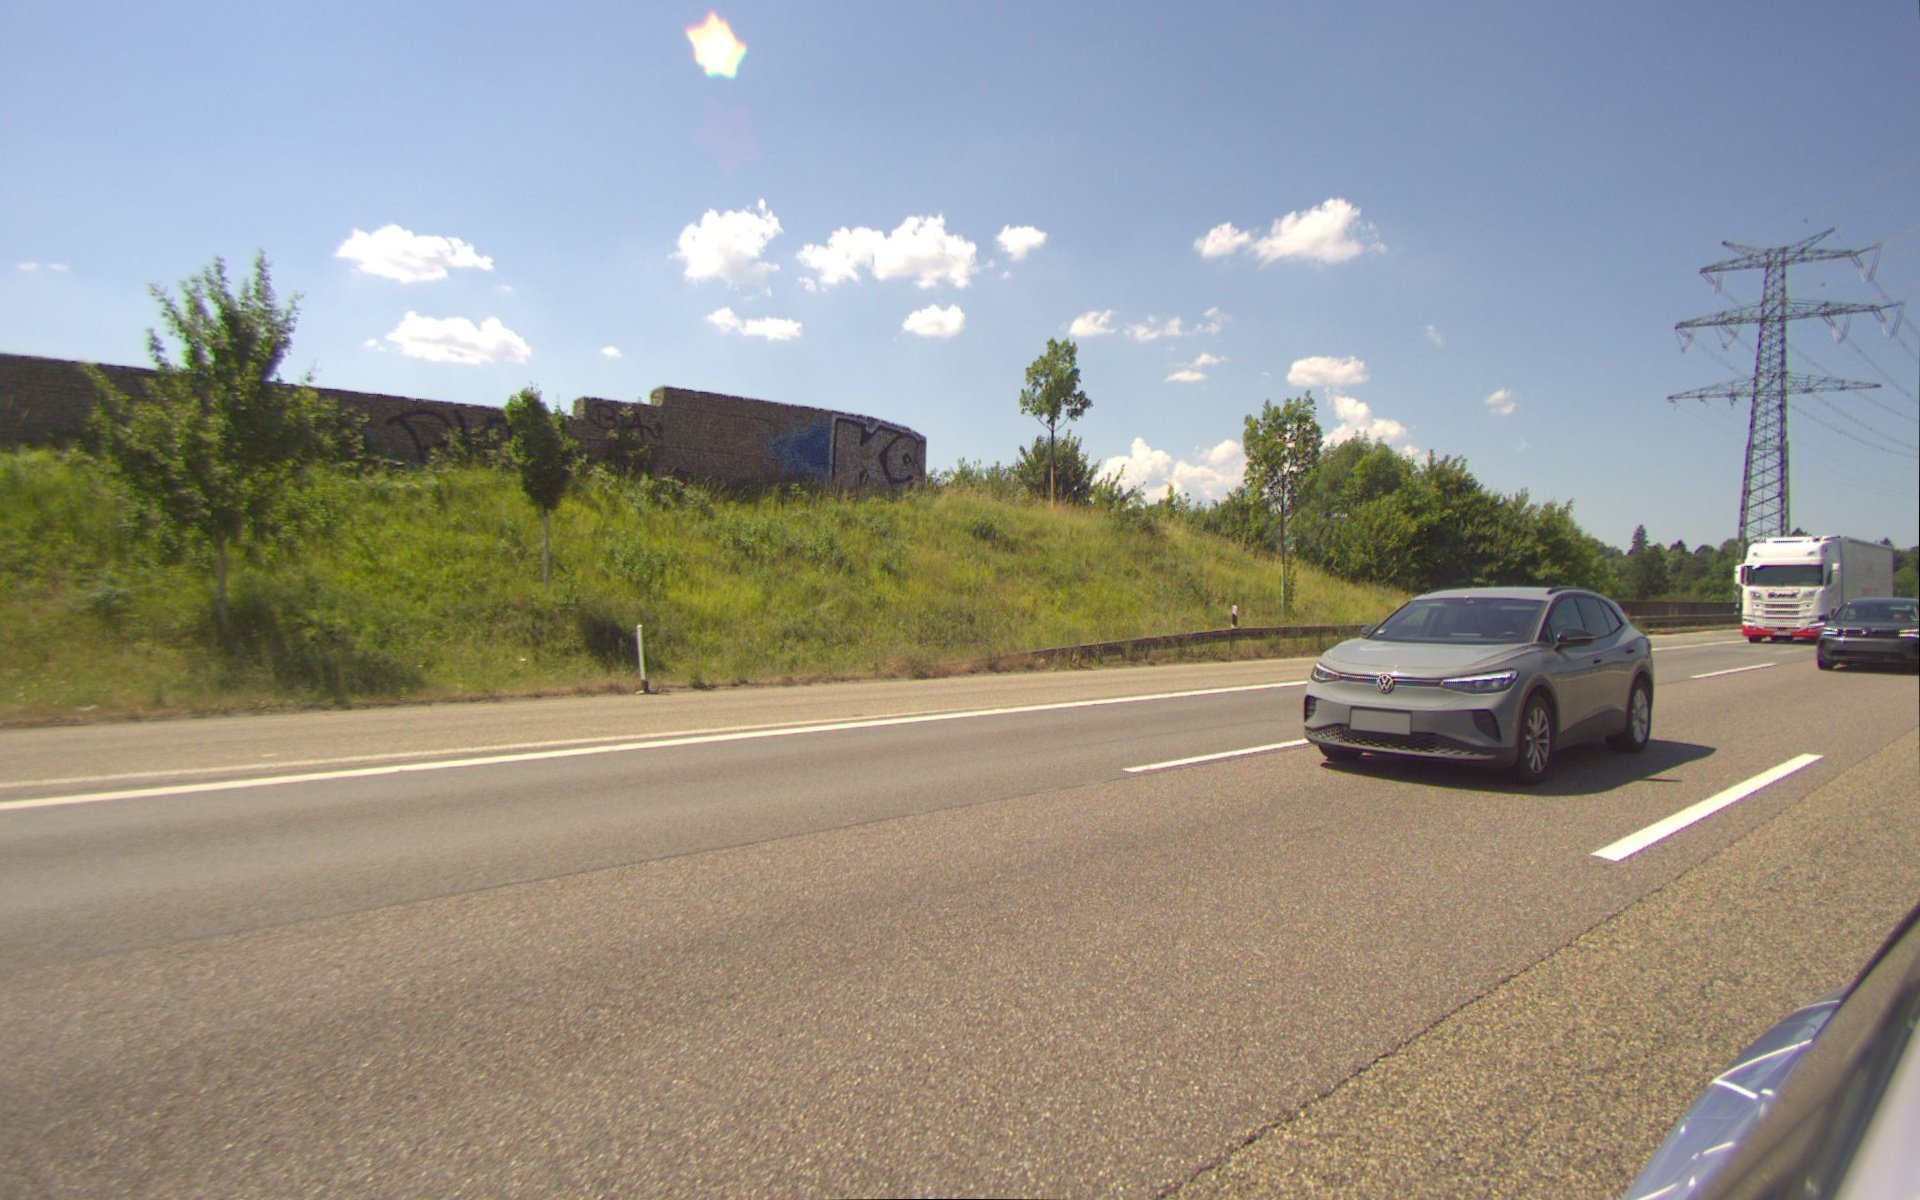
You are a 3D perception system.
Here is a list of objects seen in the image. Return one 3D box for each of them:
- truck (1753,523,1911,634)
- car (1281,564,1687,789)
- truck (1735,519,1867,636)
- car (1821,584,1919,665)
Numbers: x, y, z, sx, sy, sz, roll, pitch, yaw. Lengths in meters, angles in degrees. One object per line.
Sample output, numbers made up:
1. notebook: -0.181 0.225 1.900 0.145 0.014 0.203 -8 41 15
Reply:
1. truck: 35.690 -0.749 41.164 12.283 3.957 3.074 0 0 -41
2. car: 5.132 0.563 9.633 4.504 1.657 1.871 0 0 -40
3. truck: 30.525 -0.765 36.728 3.779 3.957 3.074 0 -1 -40
4. car: 20.791 0.502 22.463 3.975 1.667 1.954 0 0 -40
